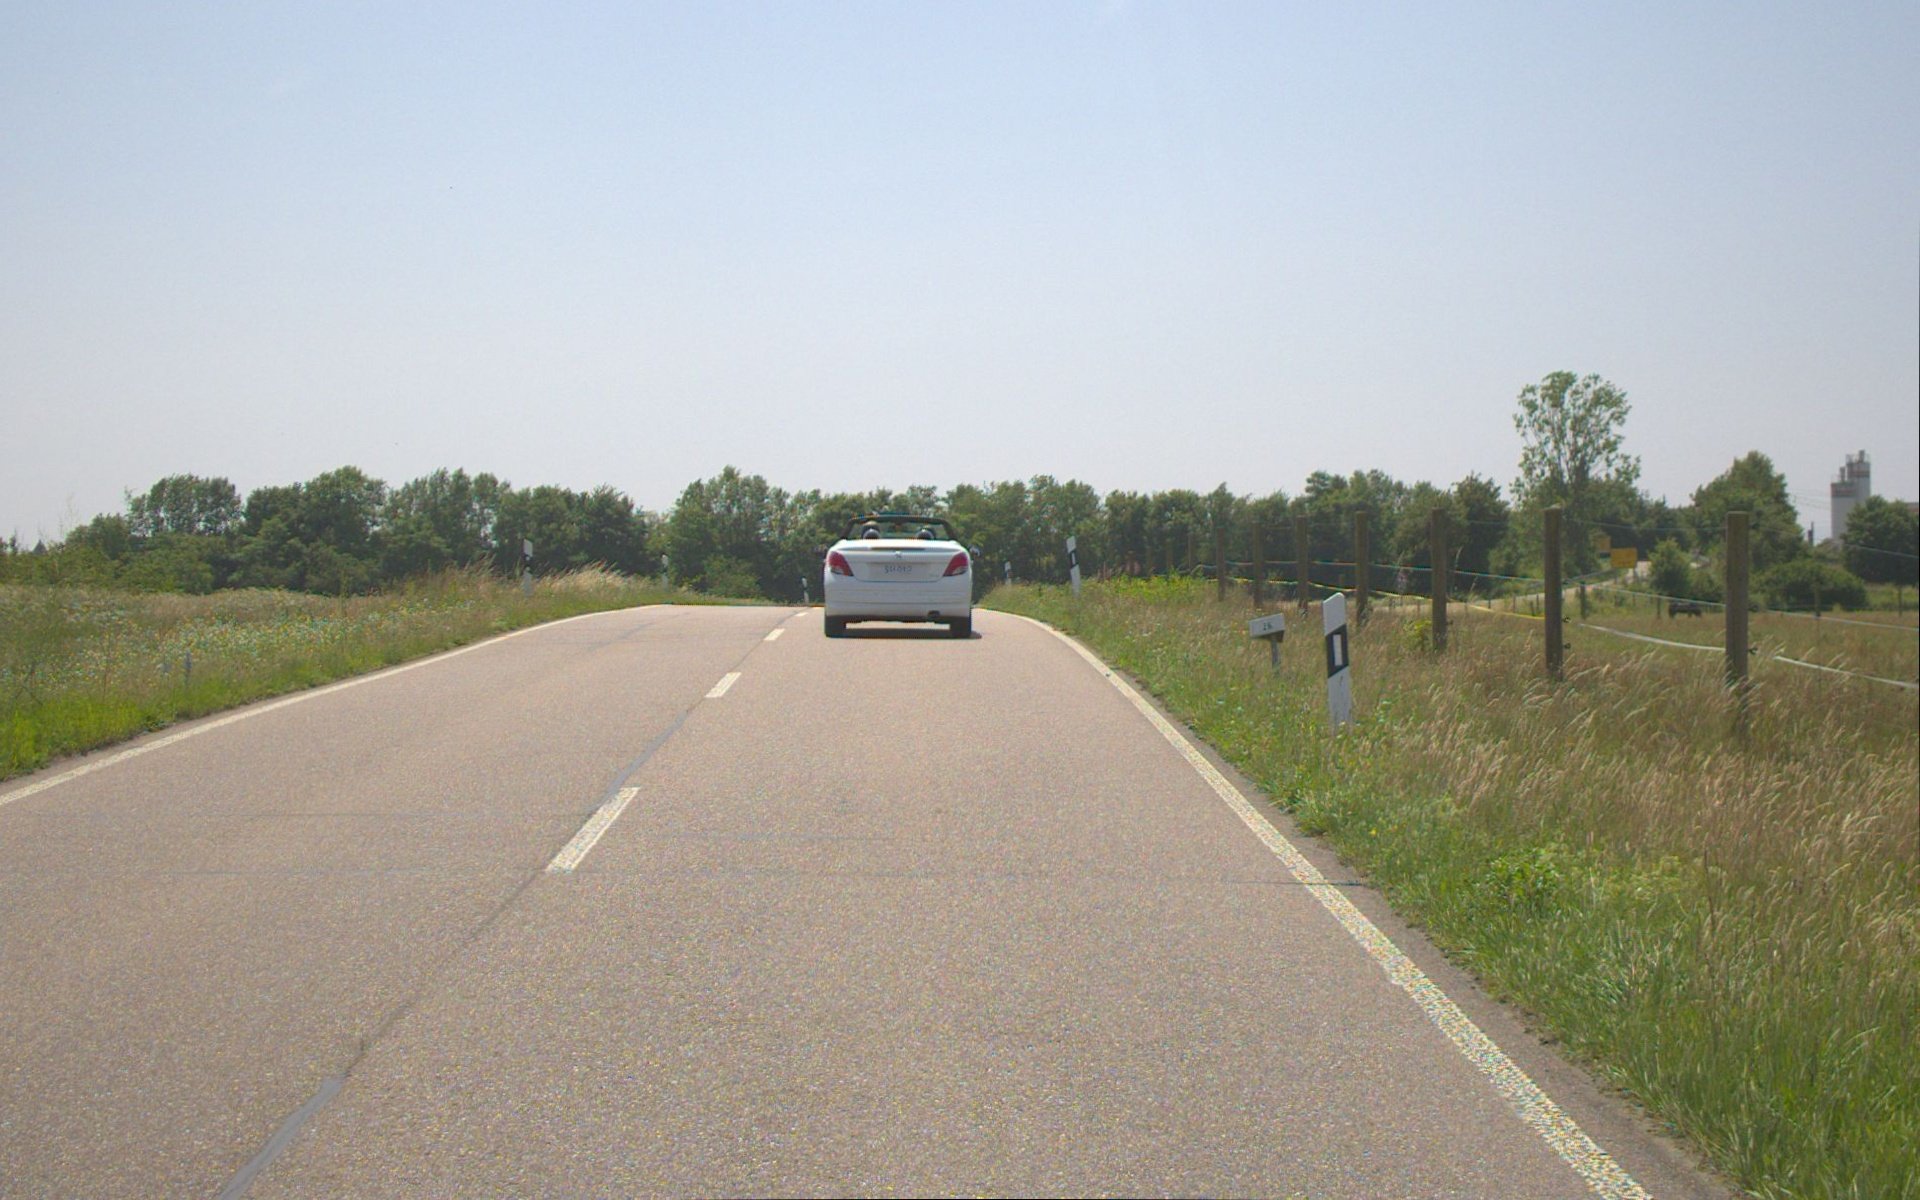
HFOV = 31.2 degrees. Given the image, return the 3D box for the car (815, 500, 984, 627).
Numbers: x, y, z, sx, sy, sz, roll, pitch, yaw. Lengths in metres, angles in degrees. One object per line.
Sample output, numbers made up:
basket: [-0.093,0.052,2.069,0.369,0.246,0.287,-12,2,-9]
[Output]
car: [-0.704,-0.454,40.256,1.851,1.374,4.000,1,1,-1]
